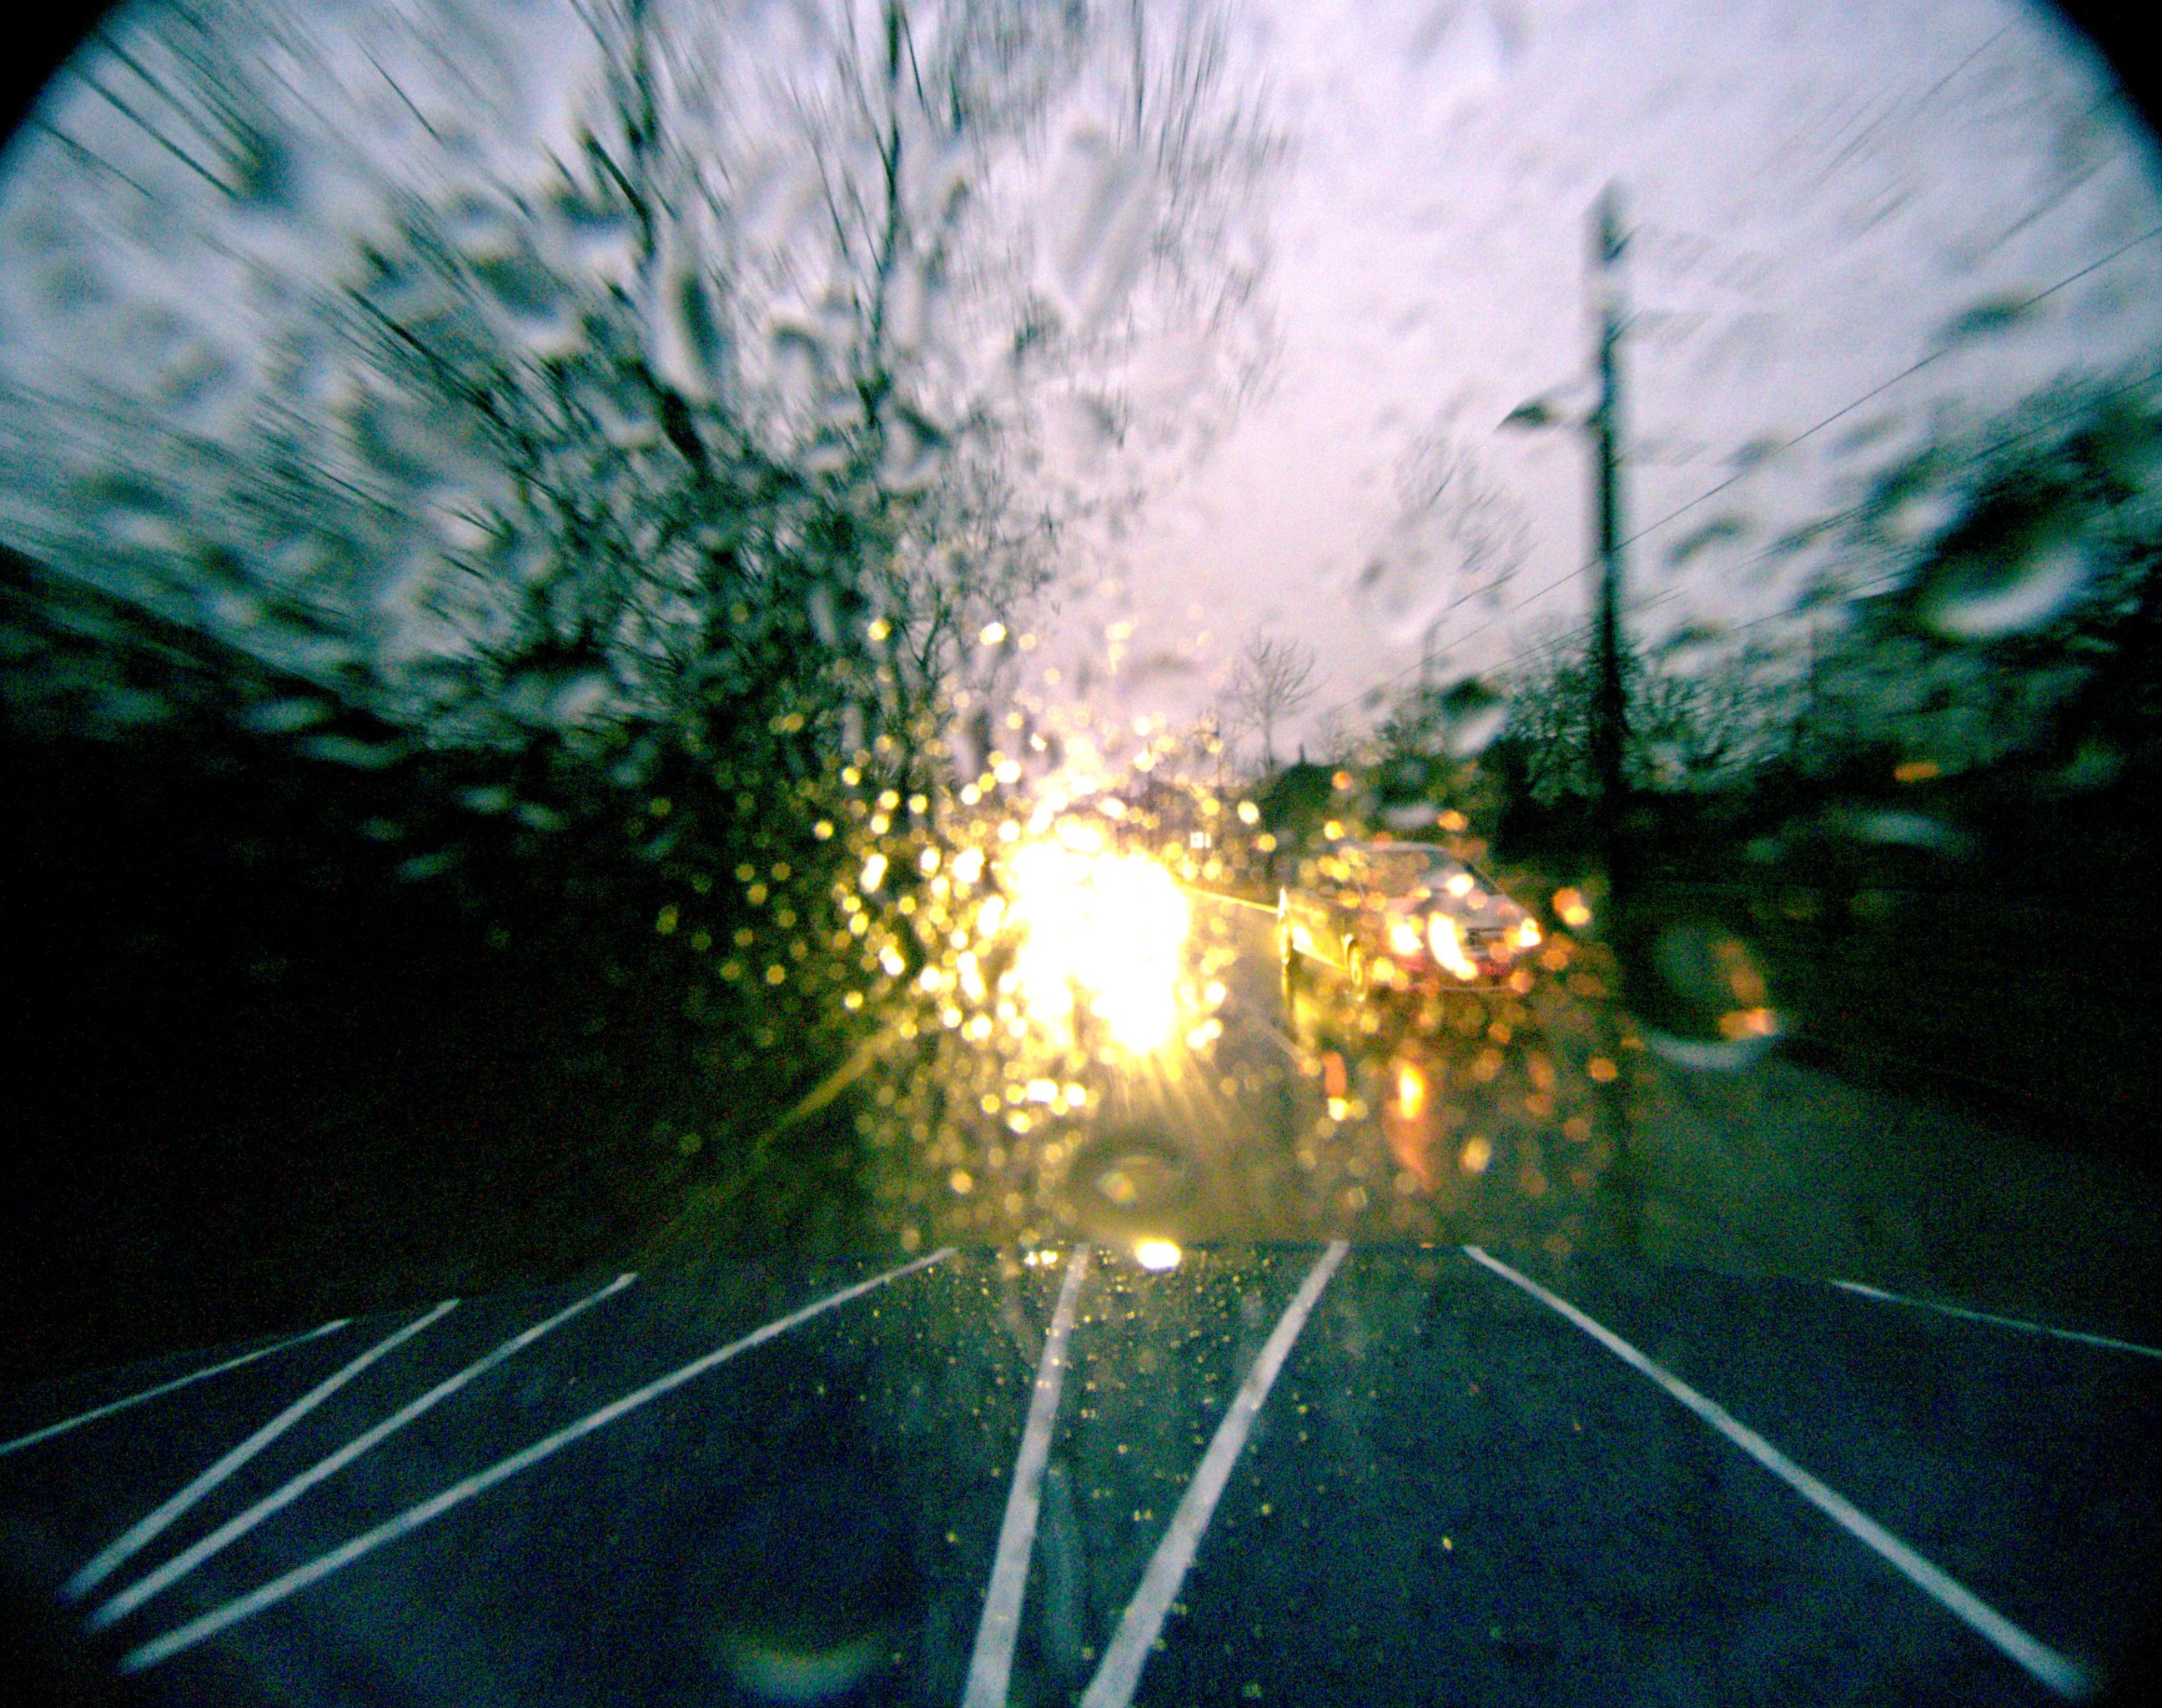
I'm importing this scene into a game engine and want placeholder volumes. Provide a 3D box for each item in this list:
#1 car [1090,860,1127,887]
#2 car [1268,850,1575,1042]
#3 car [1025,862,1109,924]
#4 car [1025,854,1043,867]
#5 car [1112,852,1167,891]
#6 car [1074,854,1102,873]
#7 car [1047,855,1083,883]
[{"bbox_3d":[1.708,1.229,48.557,1.845,1.546,4.215,-3,0,-4],"label":"car"},{"bbox_3d":[3.386,0.785,8.442,1.669,1.566,3.923,-3,0,1],"label":"car"},{"bbox_3d":[-0.252,0.914,19.490,1.896,1.347,4.290,-1,0,2],"label":"car"},{"bbox_3d":[-6.234,0.879,100.290,1.951,1.546,4.214,-3,0,-9],"label":"car"},{"bbox_3d":[2.546,0.729,34.203,1.924,1.546,4.216,-3,0,-2],"label":"car"},{"bbox_3d":[0.541,0.789,65.132,1.950,1.546,4.215,-3,0,-5],"label":"car"},{"bbox_3d":[-1.001,0.857,45.667,1.950,1.546,4.215,-3,0,-4],"label":"car"}]
